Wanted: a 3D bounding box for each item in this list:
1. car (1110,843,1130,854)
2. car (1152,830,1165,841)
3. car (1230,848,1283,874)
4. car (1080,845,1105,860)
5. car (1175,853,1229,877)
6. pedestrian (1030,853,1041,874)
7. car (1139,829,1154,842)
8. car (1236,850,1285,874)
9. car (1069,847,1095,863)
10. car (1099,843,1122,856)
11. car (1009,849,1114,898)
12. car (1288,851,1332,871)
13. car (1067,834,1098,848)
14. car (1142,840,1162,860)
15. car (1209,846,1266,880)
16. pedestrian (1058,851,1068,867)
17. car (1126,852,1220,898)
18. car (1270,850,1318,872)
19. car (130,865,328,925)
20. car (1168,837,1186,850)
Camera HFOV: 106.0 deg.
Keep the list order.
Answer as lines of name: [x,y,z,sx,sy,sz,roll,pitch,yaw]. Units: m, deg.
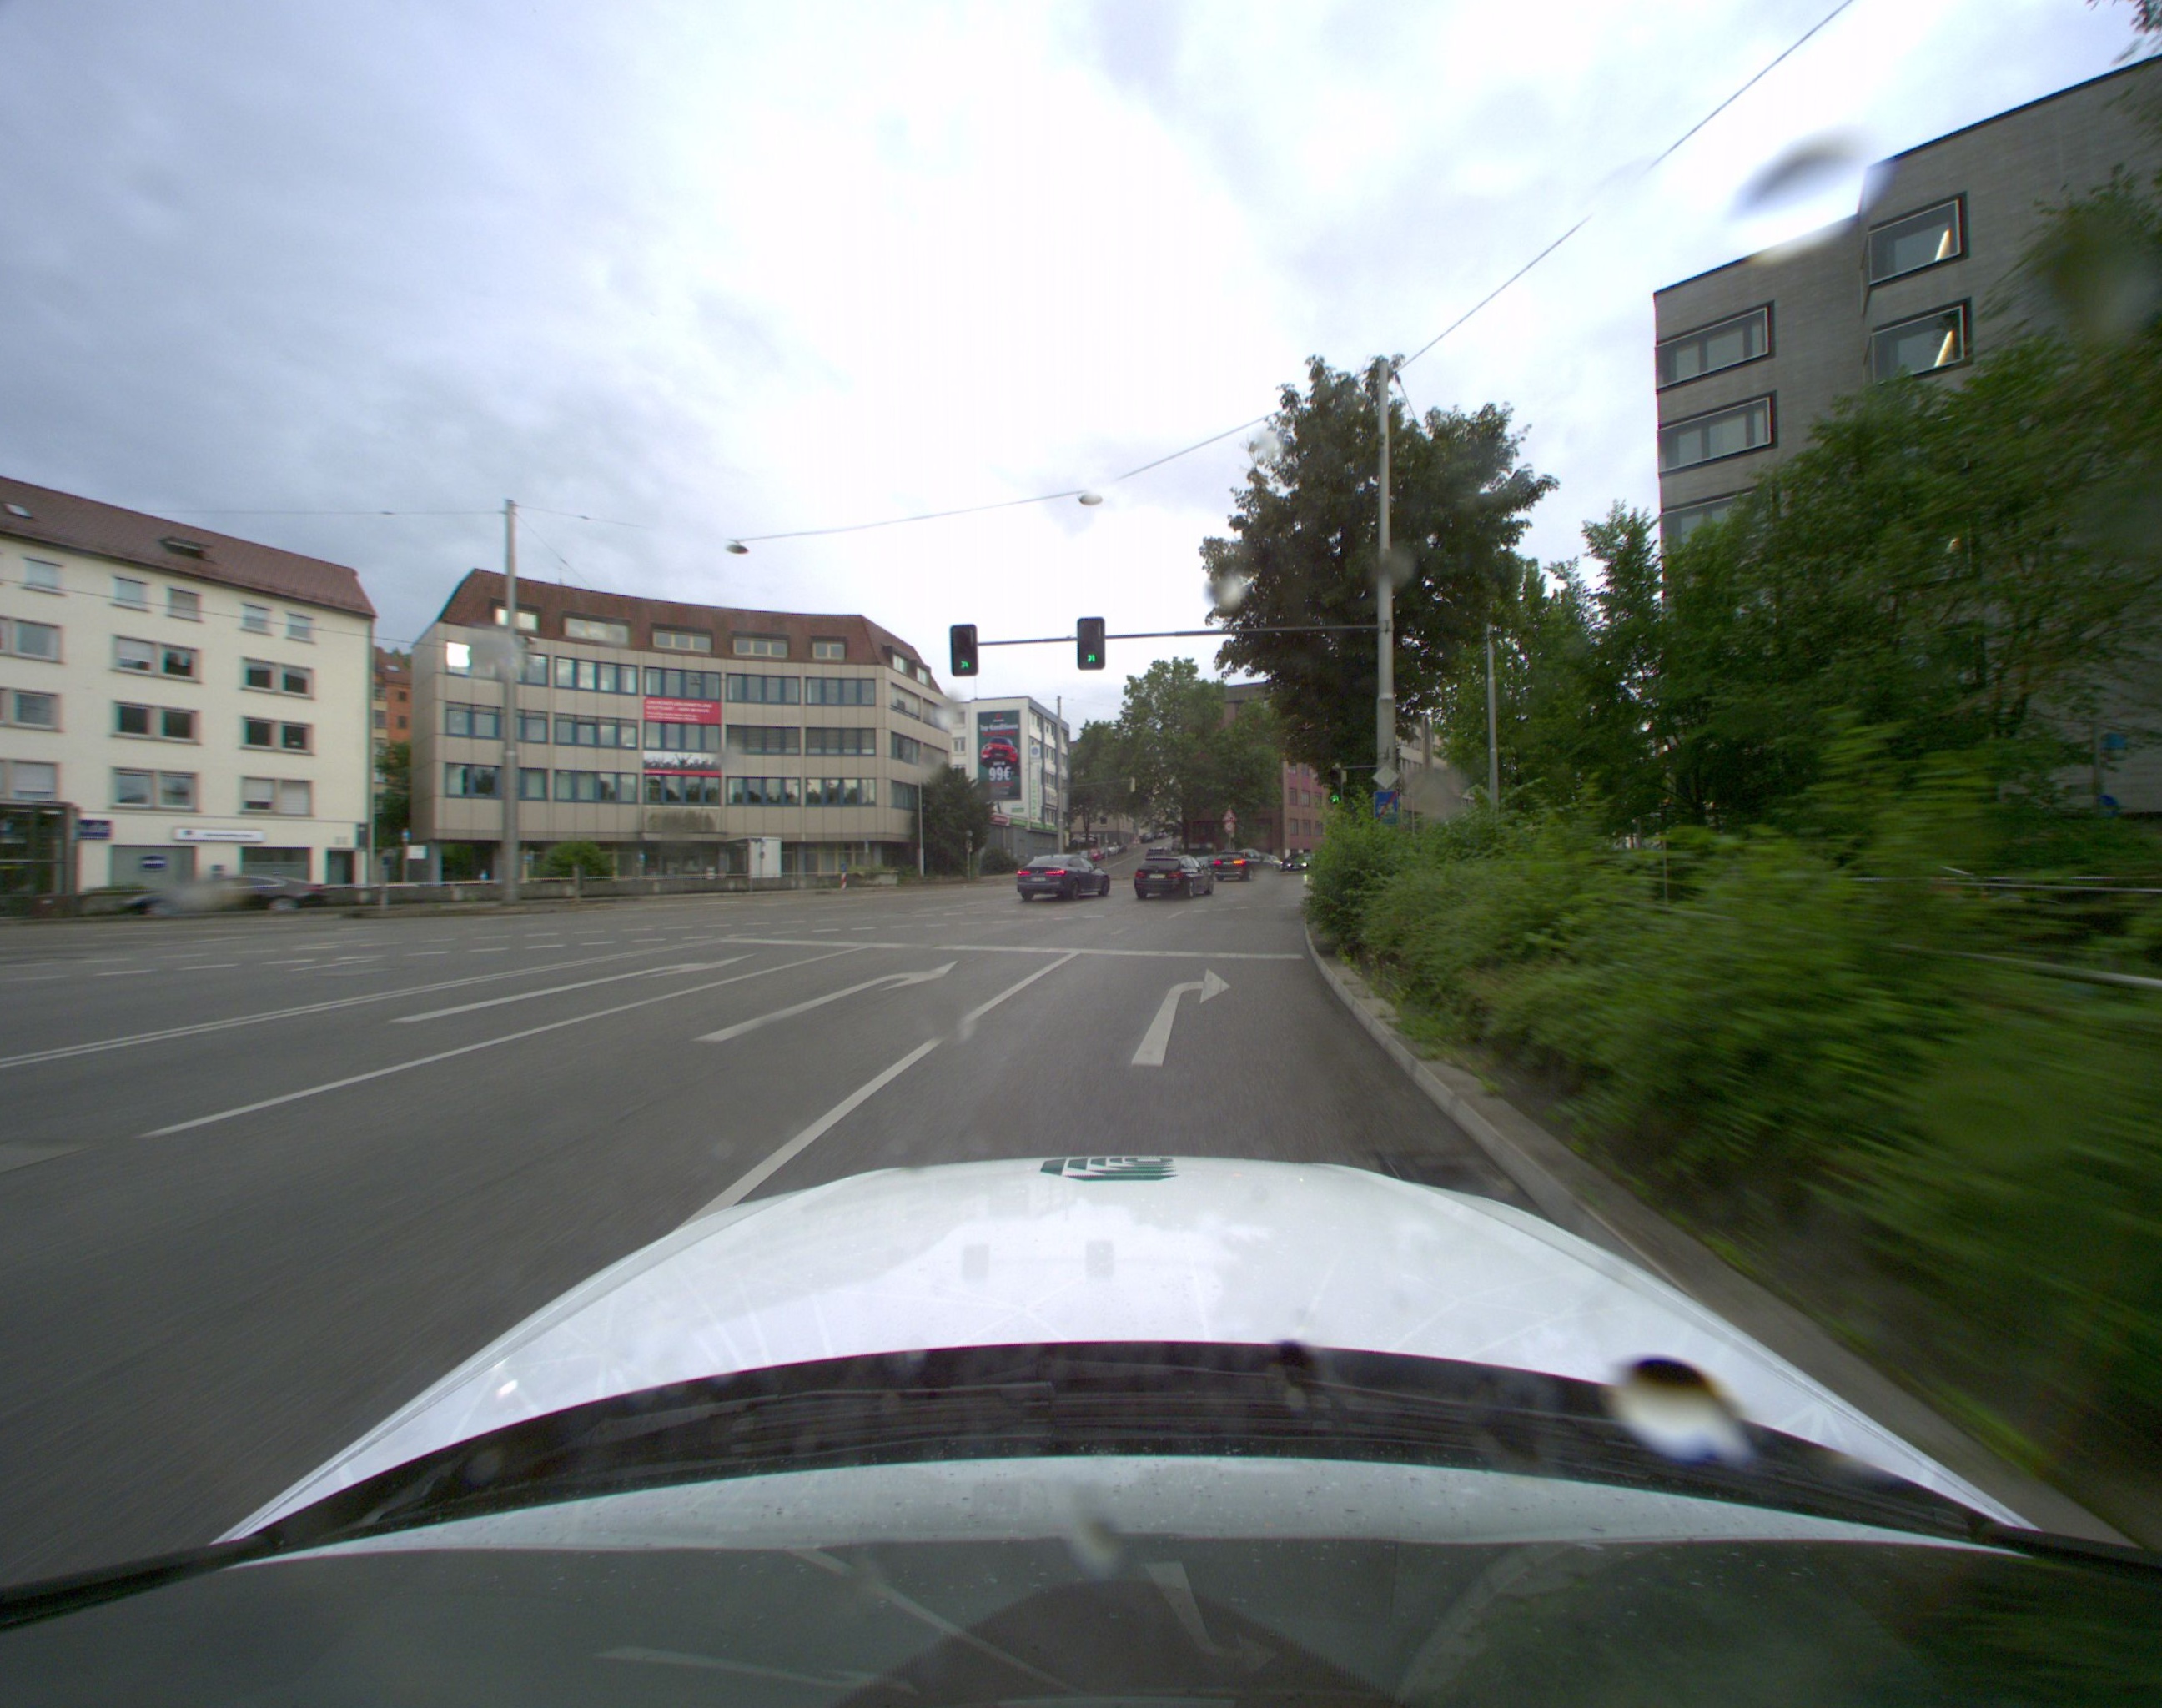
car: [5.231,-0.757,109.174,1.819,1.431,4.088,-2,1,16]
car: [14.063,-3.396,147.590,1.980,1.842,4.014,-2,3,11]
car: [11.955,0.471,55.212,1.835,1.622,4.621,-4,-2,34]
car: [1.366,-0.178,95.587,1.819,1.430,4.088,-2,3,16]
car: [8.310,0.759,55.571,1.800,1.512,4.259,-3,-2,36]
pedestrian: [-4.489,0.925,80.196,0.833,2.014,0.985,-2,-2,13]
car: [10.835,-3.017,134.134,1.980,2.014,4.012,-2,-1,11]
car: [13.815,0.607,62.498,1.749,1.682,4.620,-3,-2,38]
car: [0.155,0.069,90.034,1.820,1.463,4.194,-2,3,14]
car: [3.847,-0.568,104.480,1.818,1.430,4.090,-2,2,18]
car: [-0.530,0.633,26.664,1.775,1.427,4.407,-2,-1,22]
car: [17.406,0.520,61.737,1.749,1.417,4.108,-3,-2,38]
car: [0.271,-2.015,125.079,4.391,2.006,2.005,-2,-2,8]
car: [7.540,-0.456,86.723,1.920,1.867,4.010,0,4,8]
car: [8.262,0.484,42.803,1.882,1.693,4.023,-2,-2,26]
pedestrian: [-2.030,0.574,92.092,0.833,1.717,0.985,-2,-2,13]
car: [3.204,0.656,27.482,1.775,1.426,4.639,-1,0,24]
car: [17.608,0.582,67.173,1.974,1.677,4.969,-3,-2,38]
car: [-29.131,1.349,28.096,4.462,1.843,1.977,0,-2,-38]
car: [12.991,-1.438,109.941,1.917,1.674,4.016,-2,2,14]
